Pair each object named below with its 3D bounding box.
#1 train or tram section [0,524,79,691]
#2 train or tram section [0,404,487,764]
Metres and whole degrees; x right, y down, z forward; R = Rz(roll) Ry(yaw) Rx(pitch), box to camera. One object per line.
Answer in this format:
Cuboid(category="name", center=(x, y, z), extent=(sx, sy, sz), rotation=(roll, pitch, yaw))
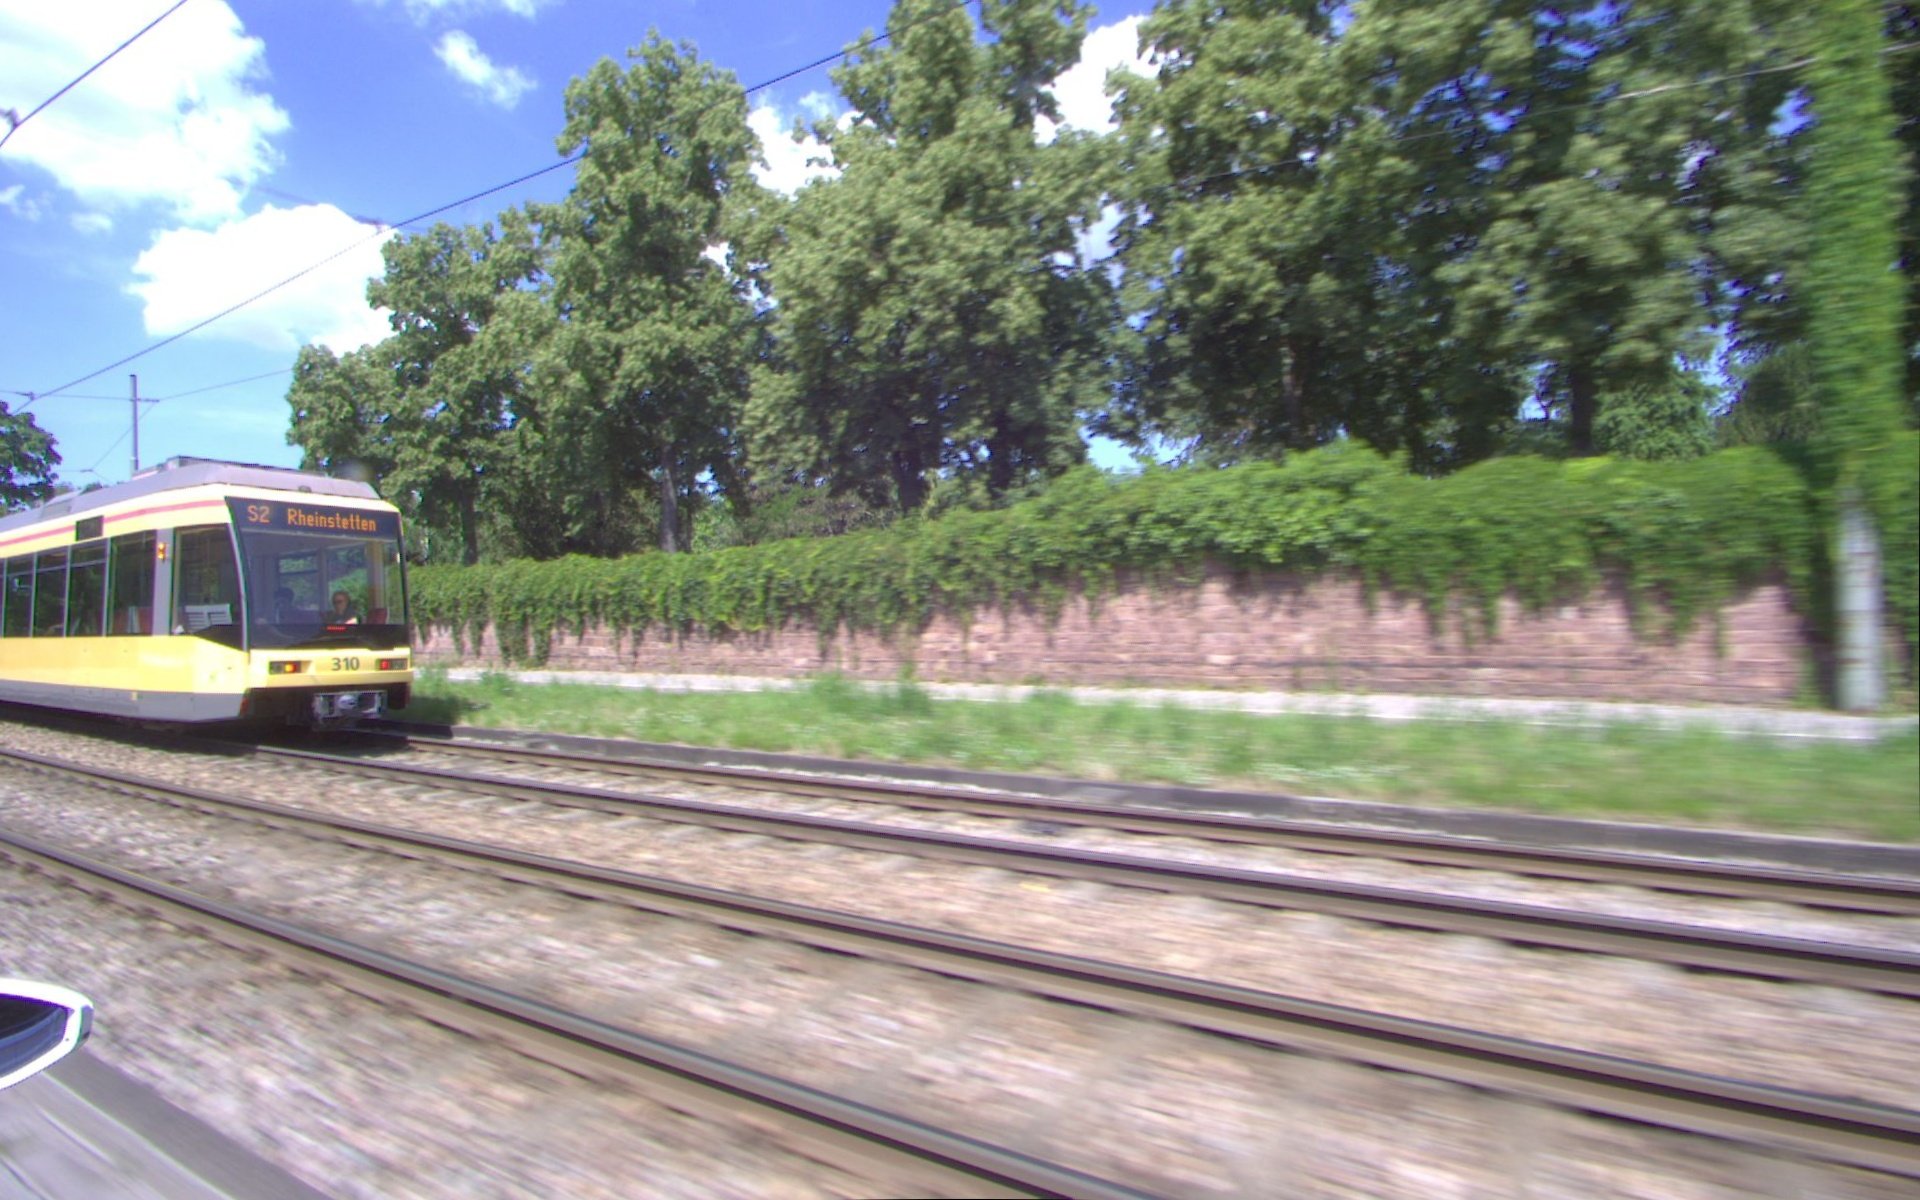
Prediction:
Cuboid(category="train or tram section", center=(-29.500, 0.330, 28.346), extent=(20.025, 3.739, 2.934), rotation=(-1, -1, 37))
Cuboid(category="train or tram section", center=(-14.243, 0.014, 16.971), extent=(18.147, 3.739, 2.935), rotation=(-1, -1, 36))
